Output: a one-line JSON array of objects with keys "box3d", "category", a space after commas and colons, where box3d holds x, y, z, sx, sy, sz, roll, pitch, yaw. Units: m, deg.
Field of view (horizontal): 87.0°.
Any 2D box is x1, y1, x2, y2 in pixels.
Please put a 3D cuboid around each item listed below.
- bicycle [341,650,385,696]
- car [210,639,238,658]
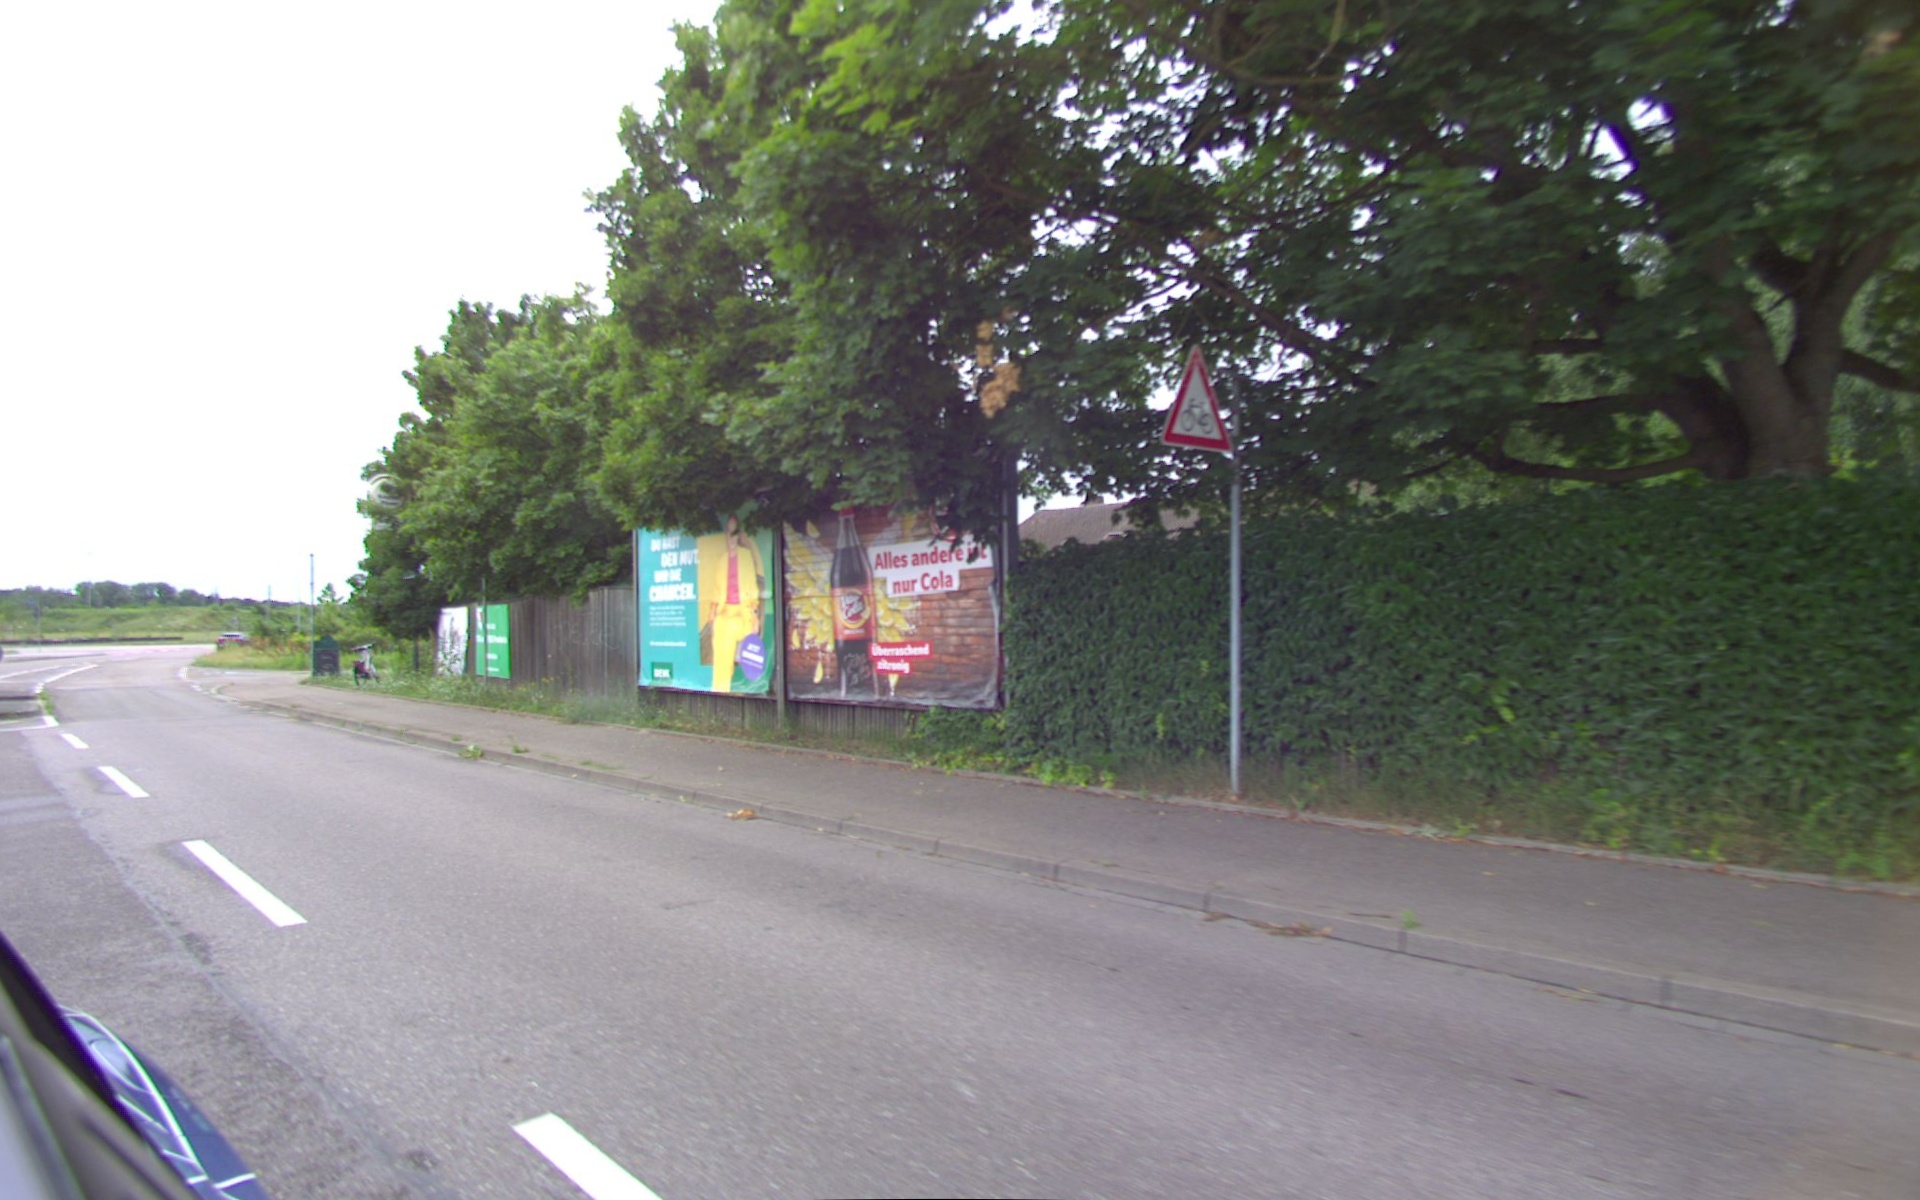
[{"box3d": [-14.615, 1.767, 24.821, 0.574, 1.006, 1.775, -3, 0, -20], "category": "bicycle"}, {"box3d": [-58.180, 3.816, 79.987, 1.716, 1.464, 4.009, 1, -2, -37], "category": "car"}]
